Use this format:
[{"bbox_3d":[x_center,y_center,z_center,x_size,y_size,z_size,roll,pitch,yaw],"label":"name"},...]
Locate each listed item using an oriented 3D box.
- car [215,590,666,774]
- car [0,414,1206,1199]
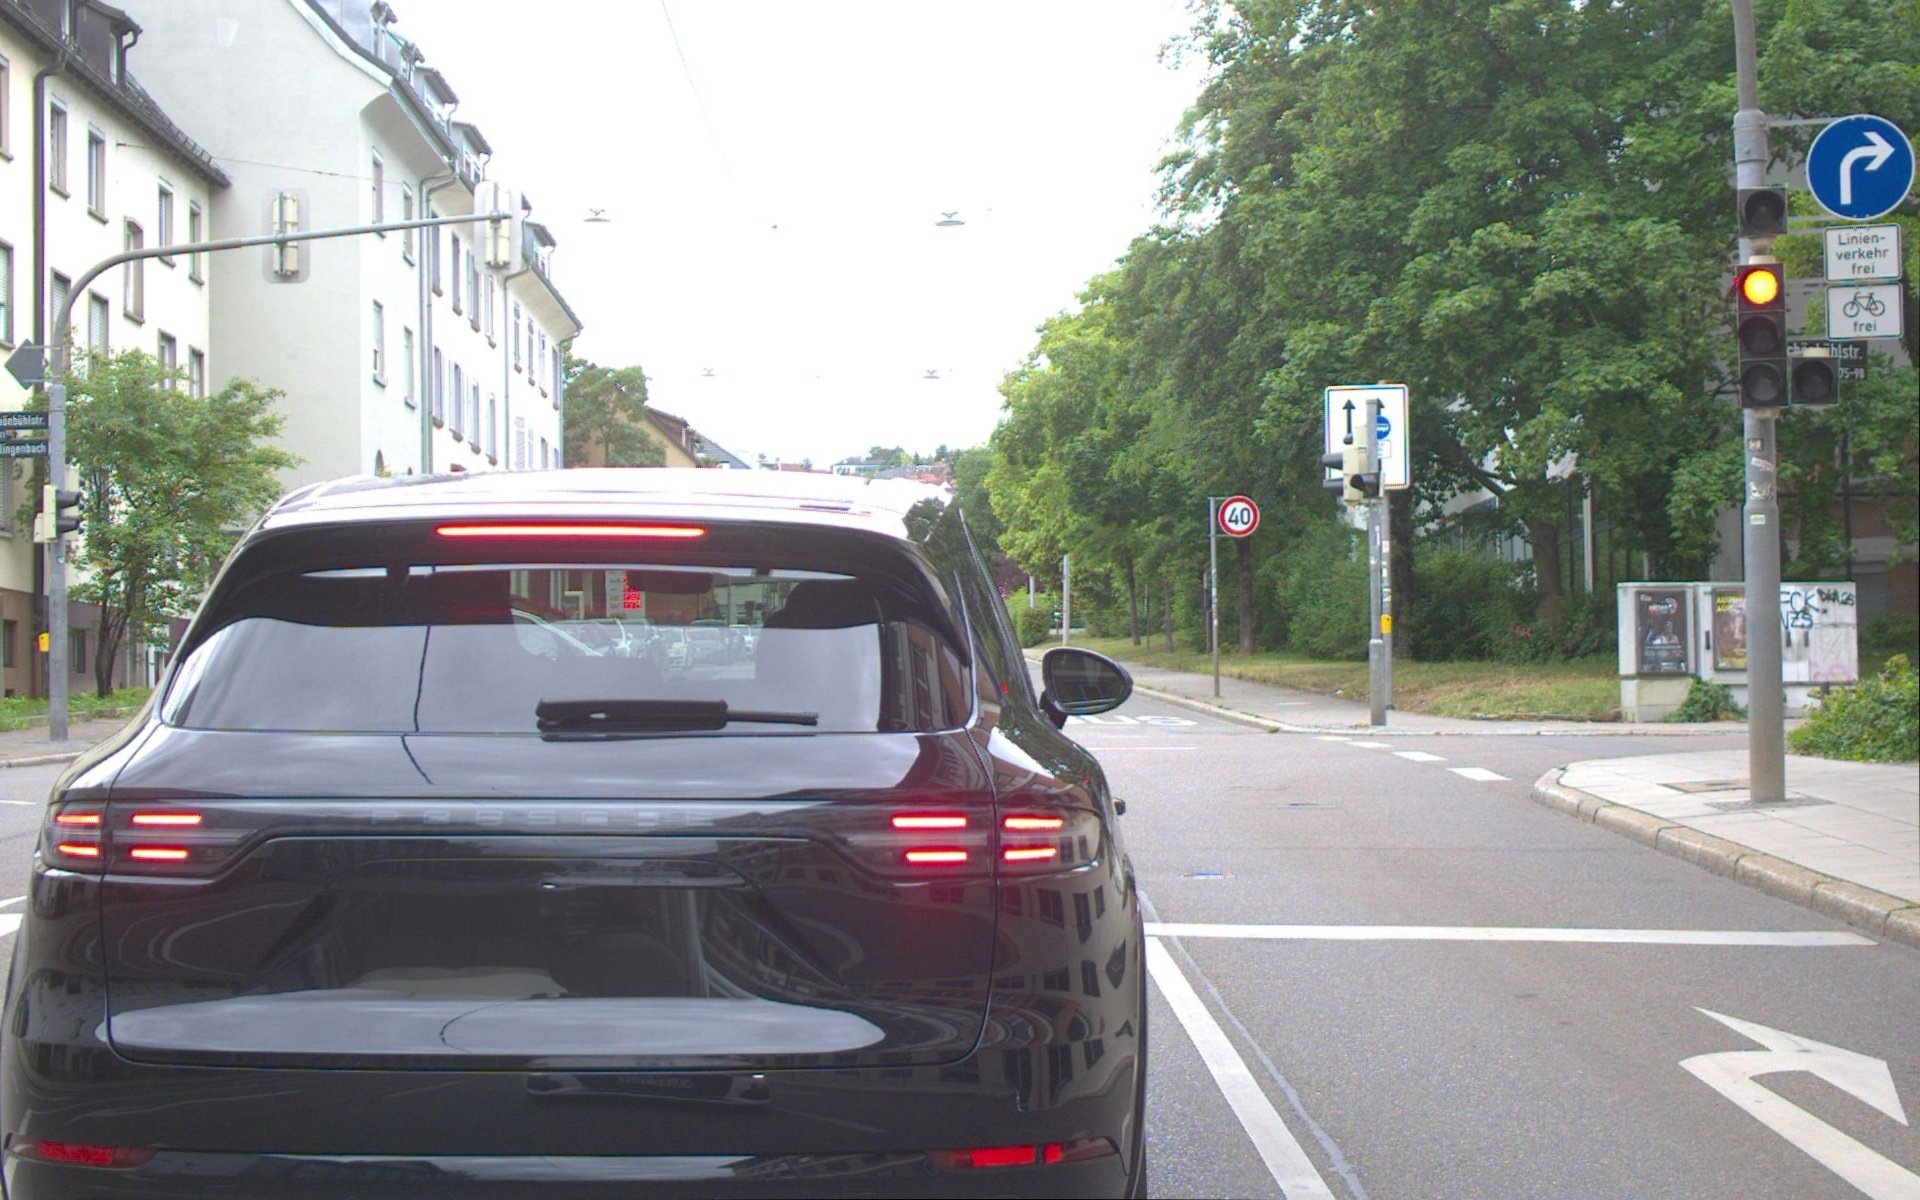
[{"bbox_3d":[-4.675,0.701,31.332,1.692,1.547,3.879,1,1,41],"label":"car"},{"bbox_3d":[-0.663,0.559,7.140,1.993,1.691,4.000,1,1,-1],"label":"car"}]
